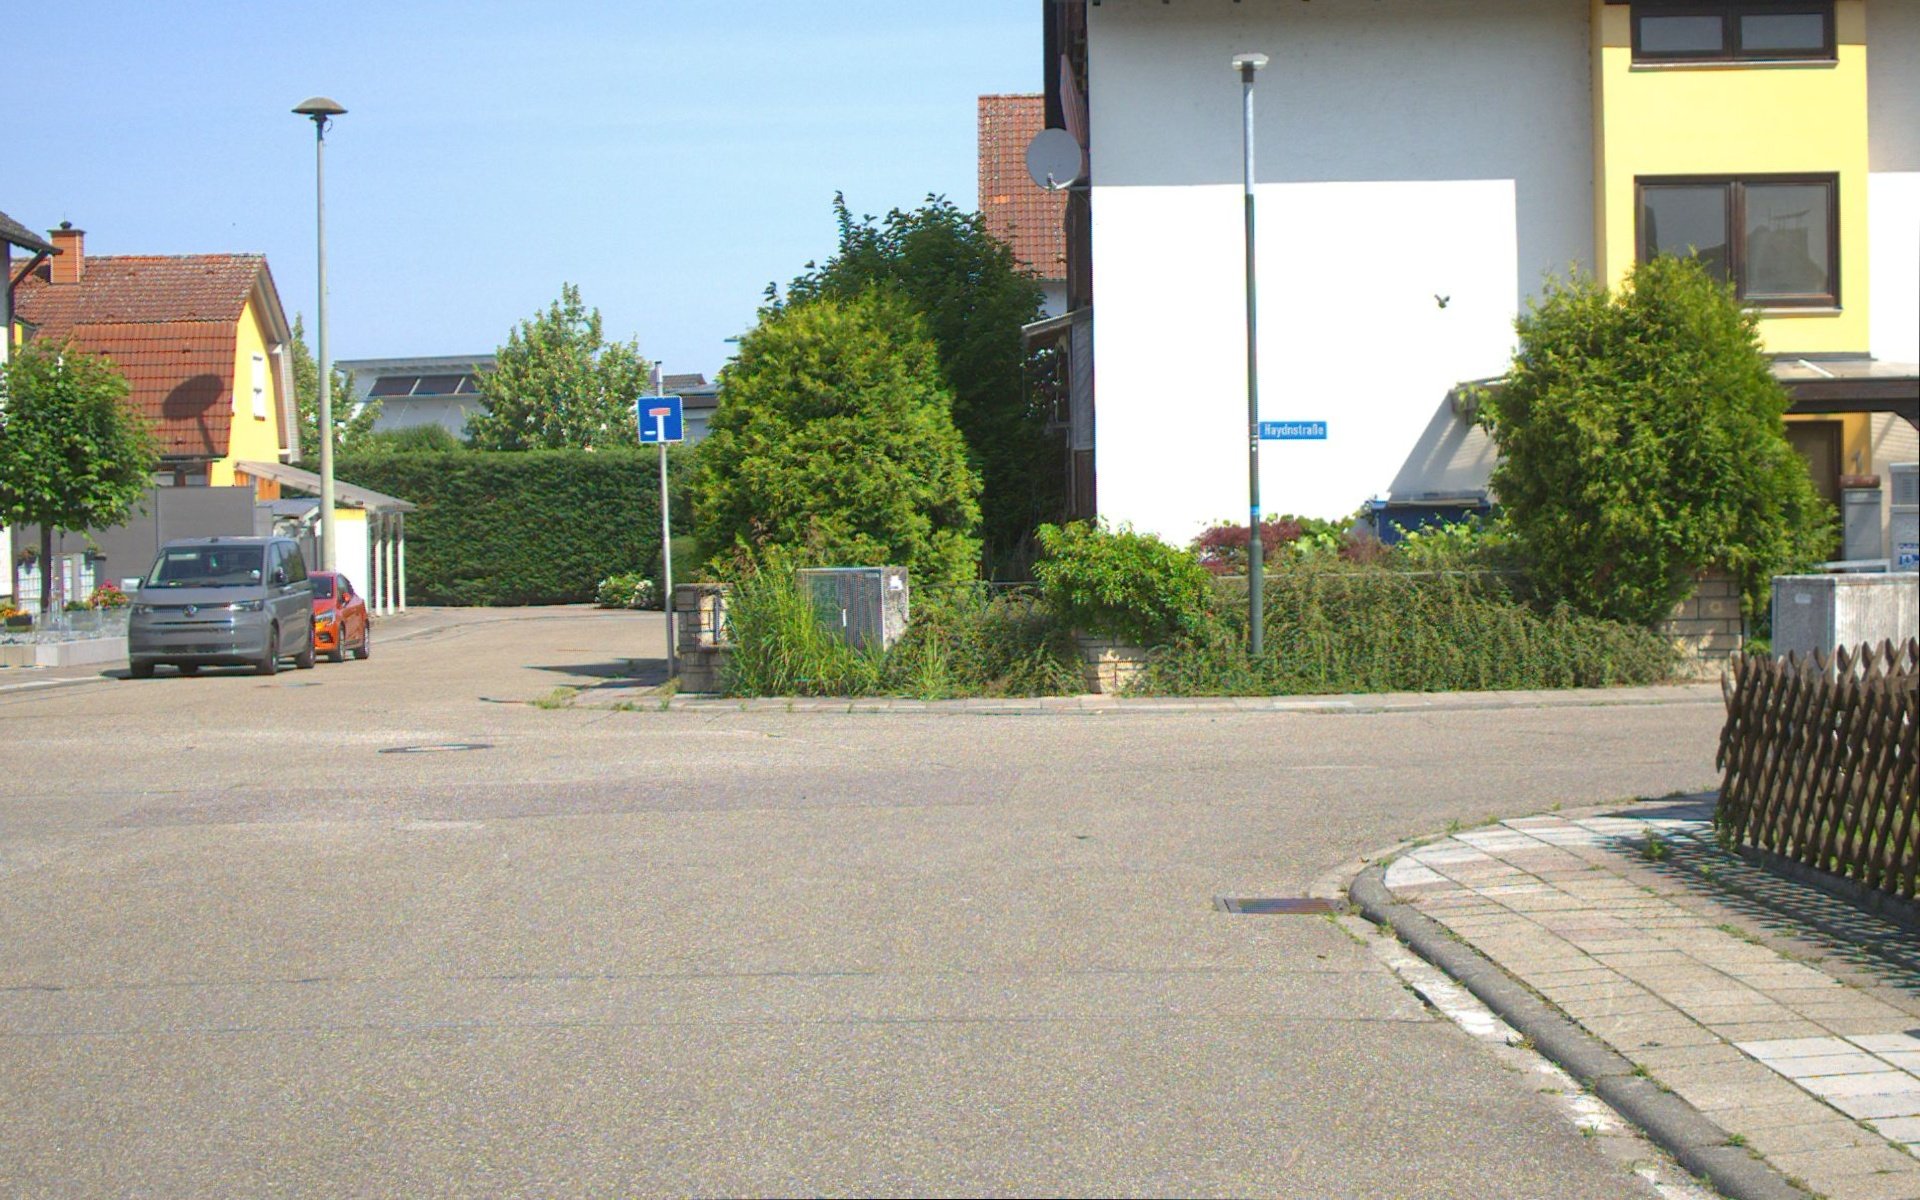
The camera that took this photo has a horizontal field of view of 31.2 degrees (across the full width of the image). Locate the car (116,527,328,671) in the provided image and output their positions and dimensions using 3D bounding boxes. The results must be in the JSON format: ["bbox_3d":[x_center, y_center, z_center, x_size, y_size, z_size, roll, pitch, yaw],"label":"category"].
[{"bbox_3d":[-10.137,-0.056,47.547,1.901,1.863,4.371,-1,1,1],"label":"car"}]

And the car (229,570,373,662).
[{"bbox_3d":[-10.394,0.226,54.426,1.651,1.360,3.779,-1,1,-2],"label":"car"}]
